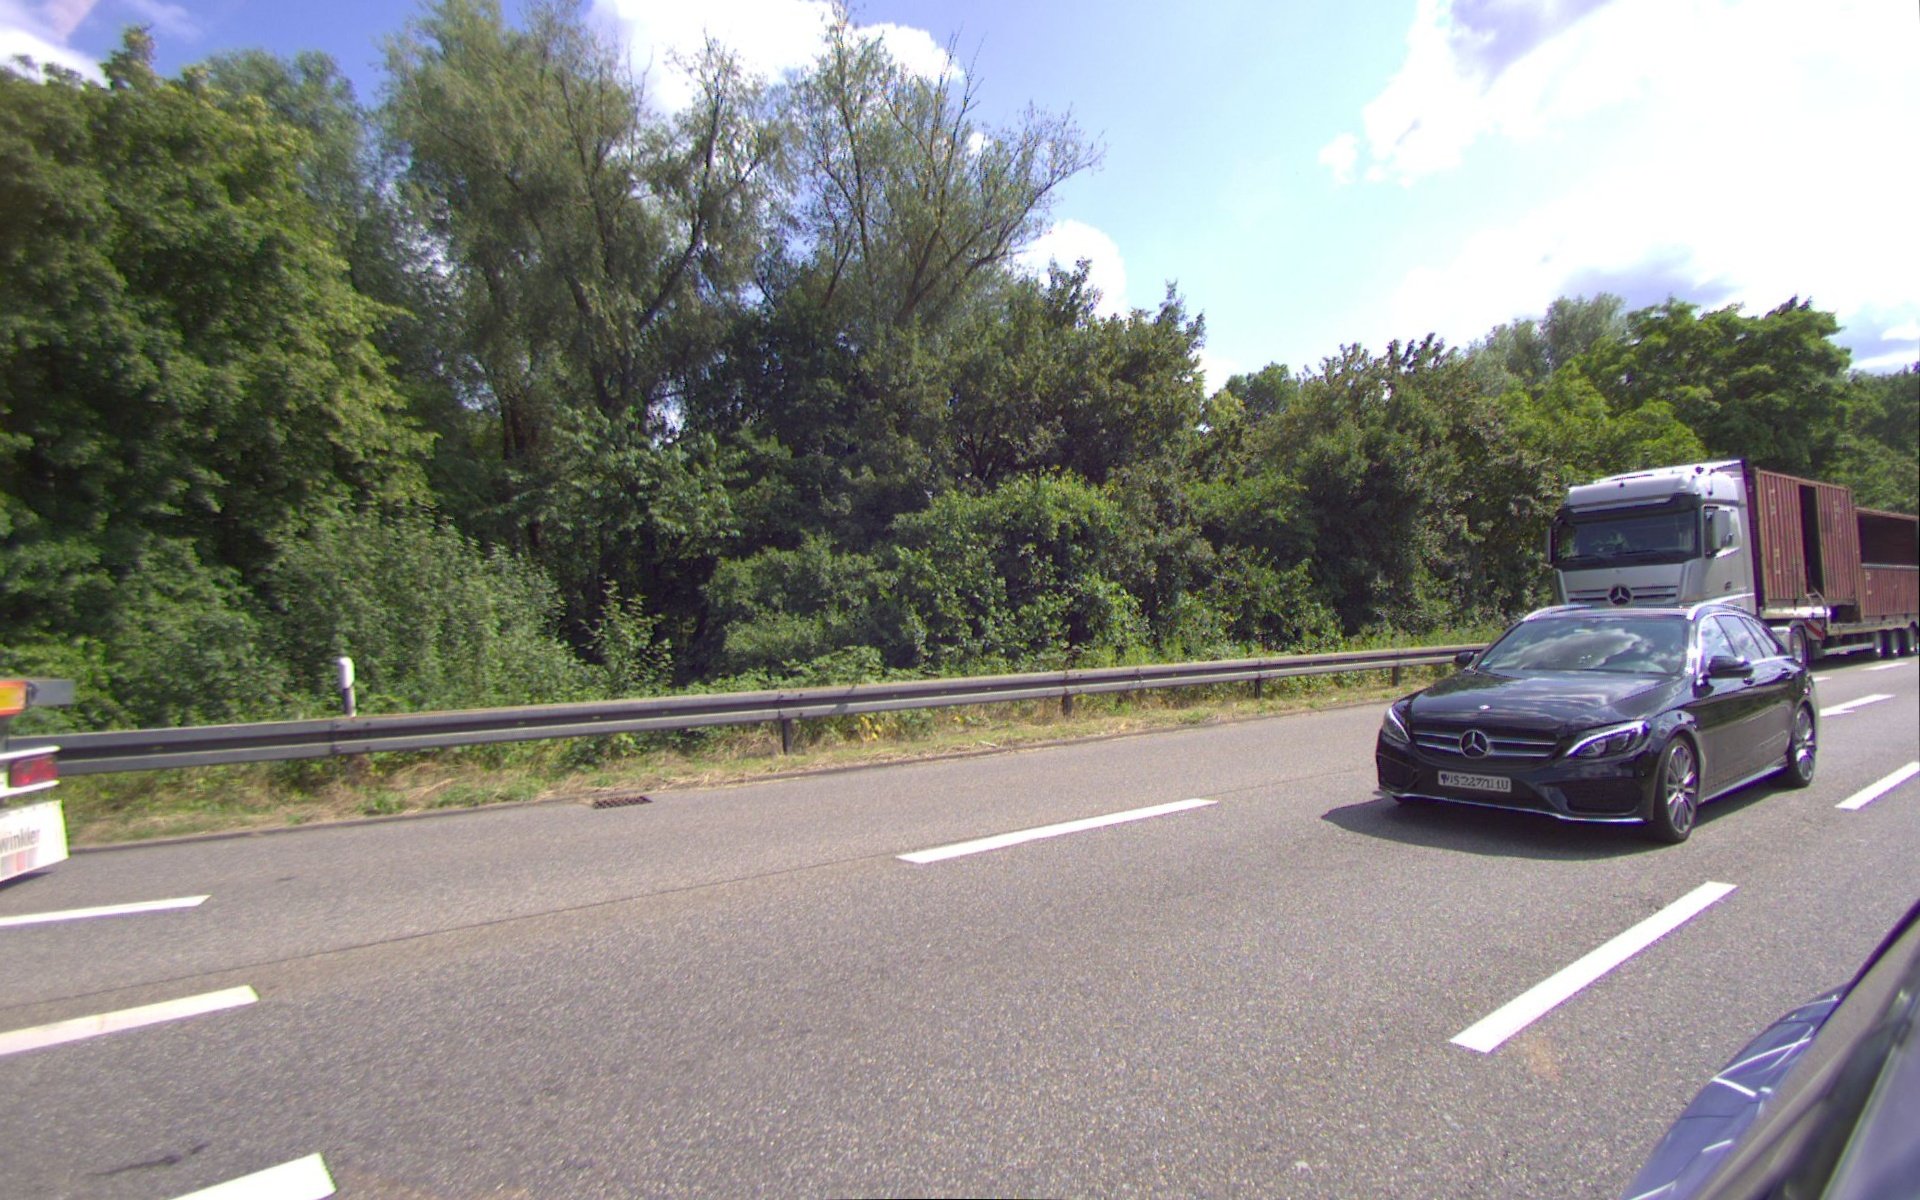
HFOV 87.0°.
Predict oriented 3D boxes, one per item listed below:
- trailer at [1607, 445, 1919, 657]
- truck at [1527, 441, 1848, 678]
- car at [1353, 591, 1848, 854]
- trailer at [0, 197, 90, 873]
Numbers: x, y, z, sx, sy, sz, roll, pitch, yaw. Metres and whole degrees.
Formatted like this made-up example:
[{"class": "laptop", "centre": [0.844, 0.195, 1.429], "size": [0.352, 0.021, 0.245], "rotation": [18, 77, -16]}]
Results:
[{"class": "trailer", "centre": [19.175, -0.891, 23.148], "size": [12.085, 3.900, 2.780], "rotation": [0, -2, -35]}, {"class": "truck", "centre": [14.193, -0.628, 19.601], "size": [6.689, 3.895, 2.777], "rotation": [0, -3, -35]}, {"class": "car", "centre": [5.002, 0.691, 7.681], "size": [4.289, 1.454, 1.795], "rotation": [-1, -1, -38]}, {"class": "trailer", "centre": [-11.865, -0.225, 3.343], "size": [13.558, 3.942, 2.651], "rotation": [-2, -3, -20]}]
